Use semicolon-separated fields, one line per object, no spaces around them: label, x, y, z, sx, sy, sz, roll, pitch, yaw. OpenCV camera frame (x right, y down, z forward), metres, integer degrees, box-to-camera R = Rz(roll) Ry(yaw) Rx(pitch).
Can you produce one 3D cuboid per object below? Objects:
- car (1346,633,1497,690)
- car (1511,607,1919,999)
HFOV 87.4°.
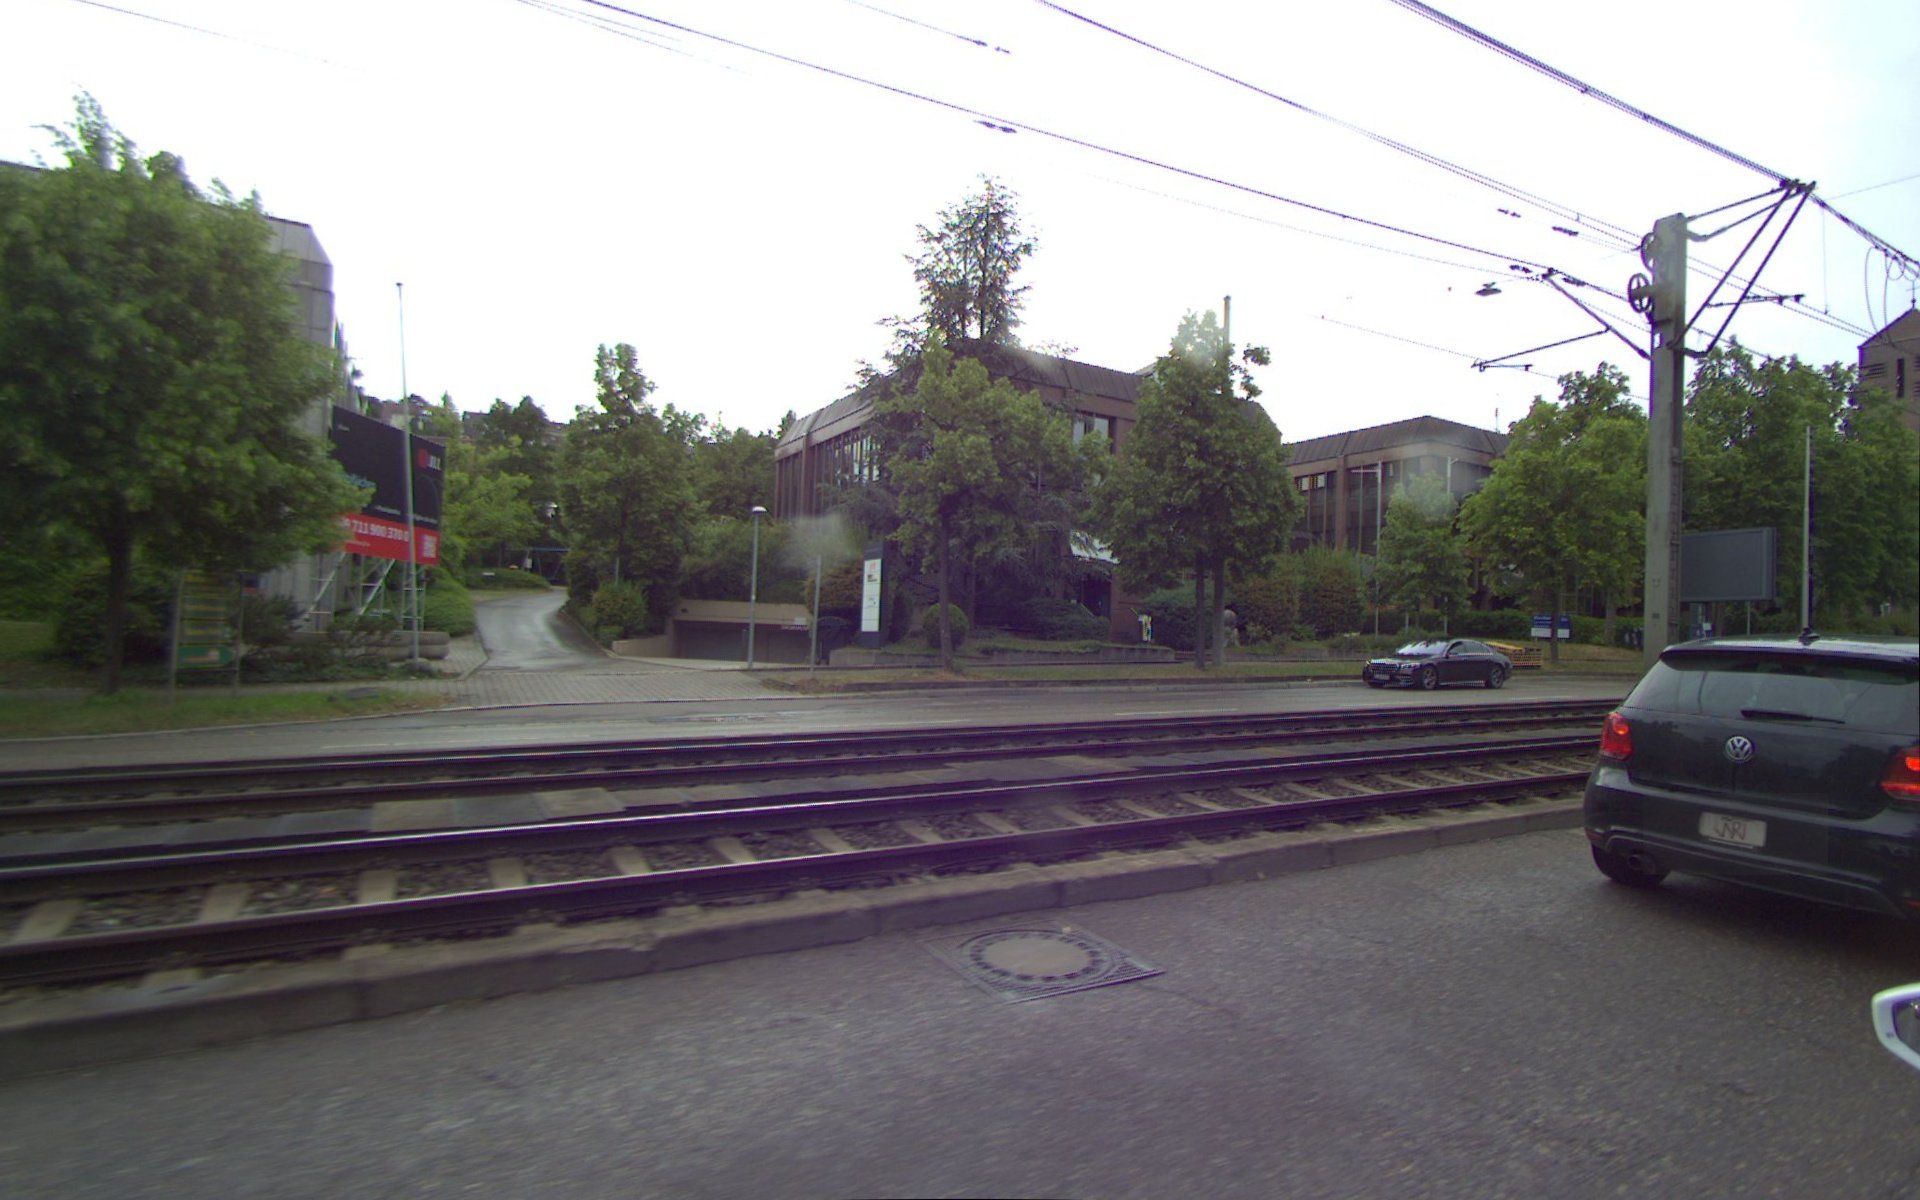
car;13.551;1.765;29.412;4.570;1.550;1.785;2;-2;-31
car;5.070;0.838;5.592;3.919;1.505;1.785;1;0;-31
